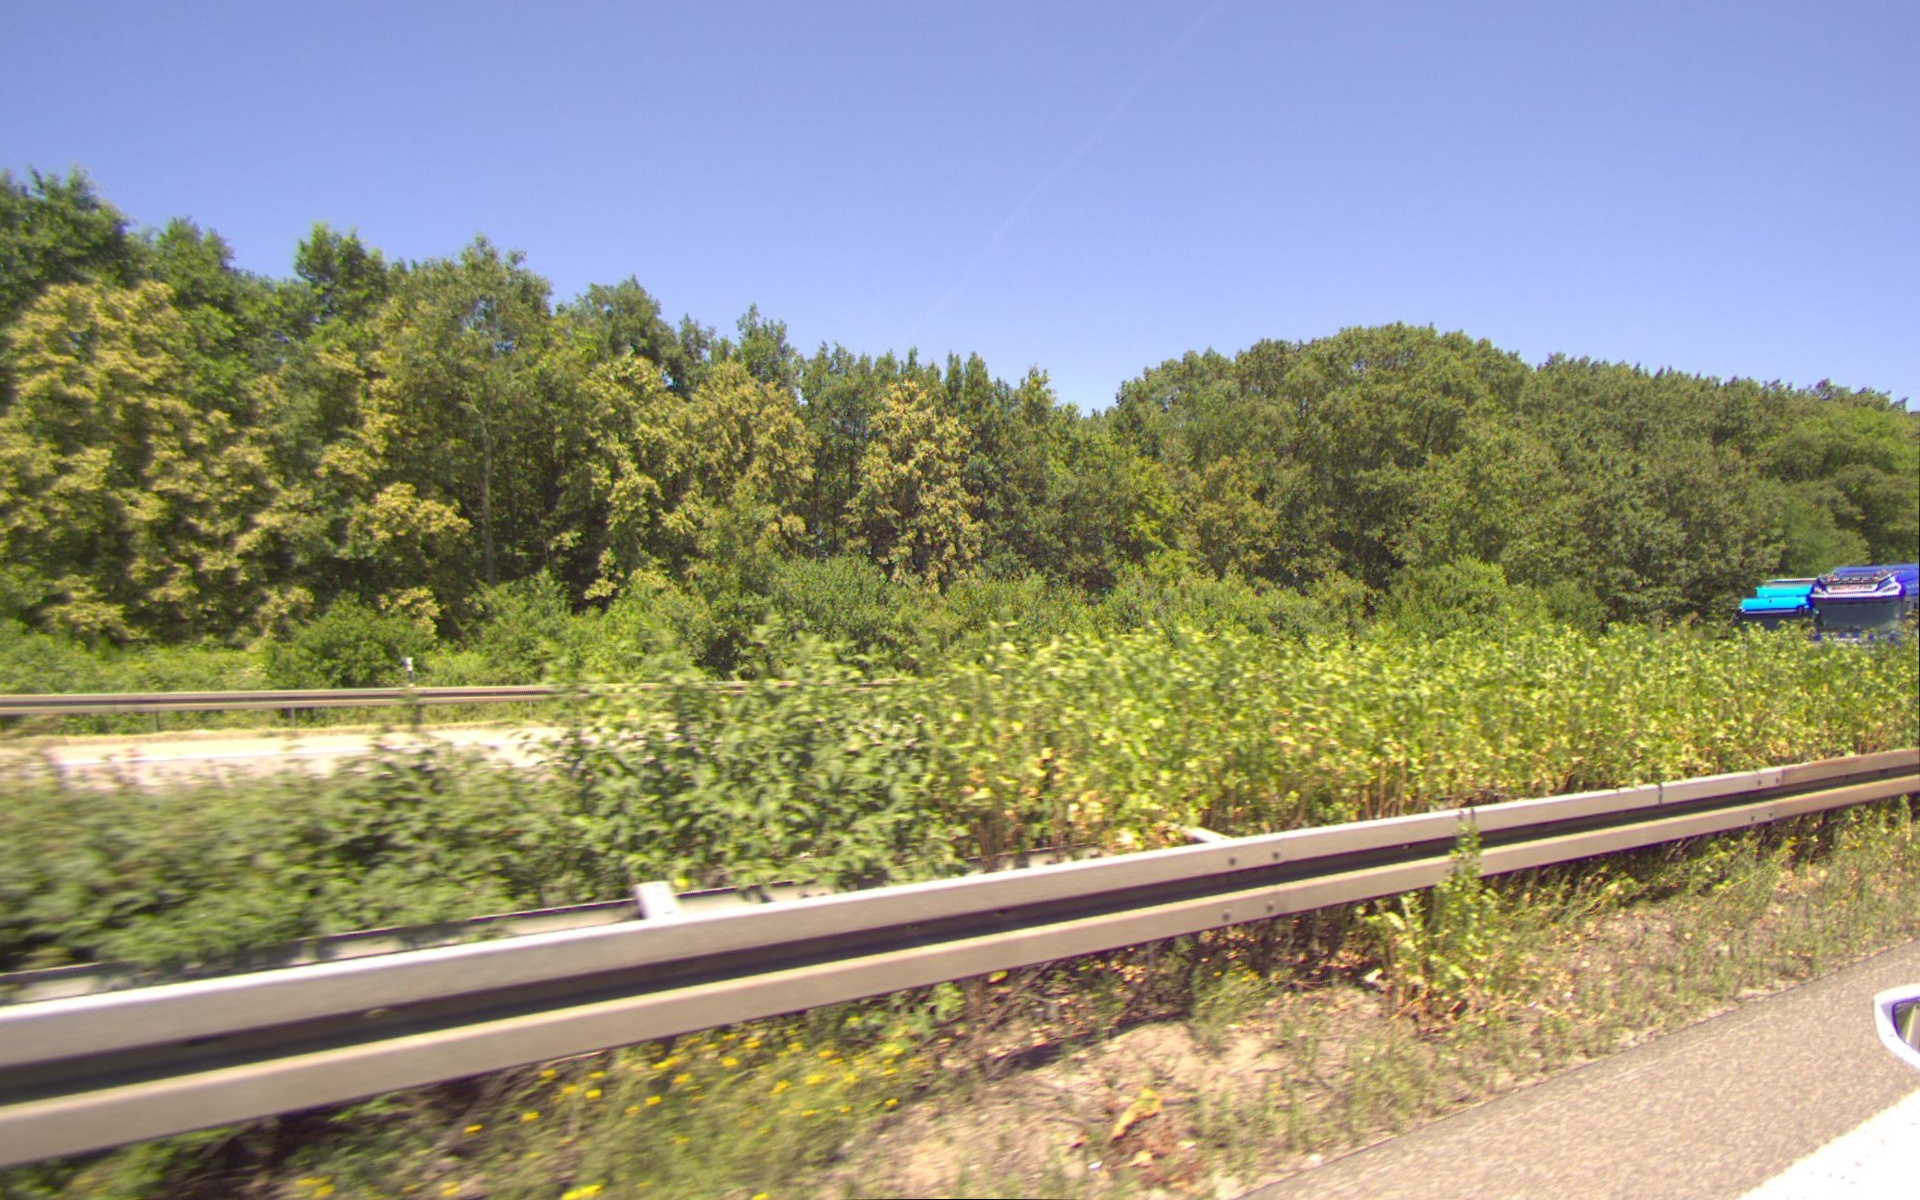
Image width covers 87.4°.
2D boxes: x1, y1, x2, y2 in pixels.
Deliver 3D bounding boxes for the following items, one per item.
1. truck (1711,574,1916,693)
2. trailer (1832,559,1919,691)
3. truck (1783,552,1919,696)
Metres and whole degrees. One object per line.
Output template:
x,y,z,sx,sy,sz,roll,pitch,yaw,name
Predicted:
33.284,1.308,39.028,9.883,4.168,2.999,2,-1,-30,truck
34.792,0.930,34.782,13.359,4.062,2.856,2,-1,-30,trailer
28.107,0.742,30.858,4.941,4.062,2.857,1,-1,-30,truck
